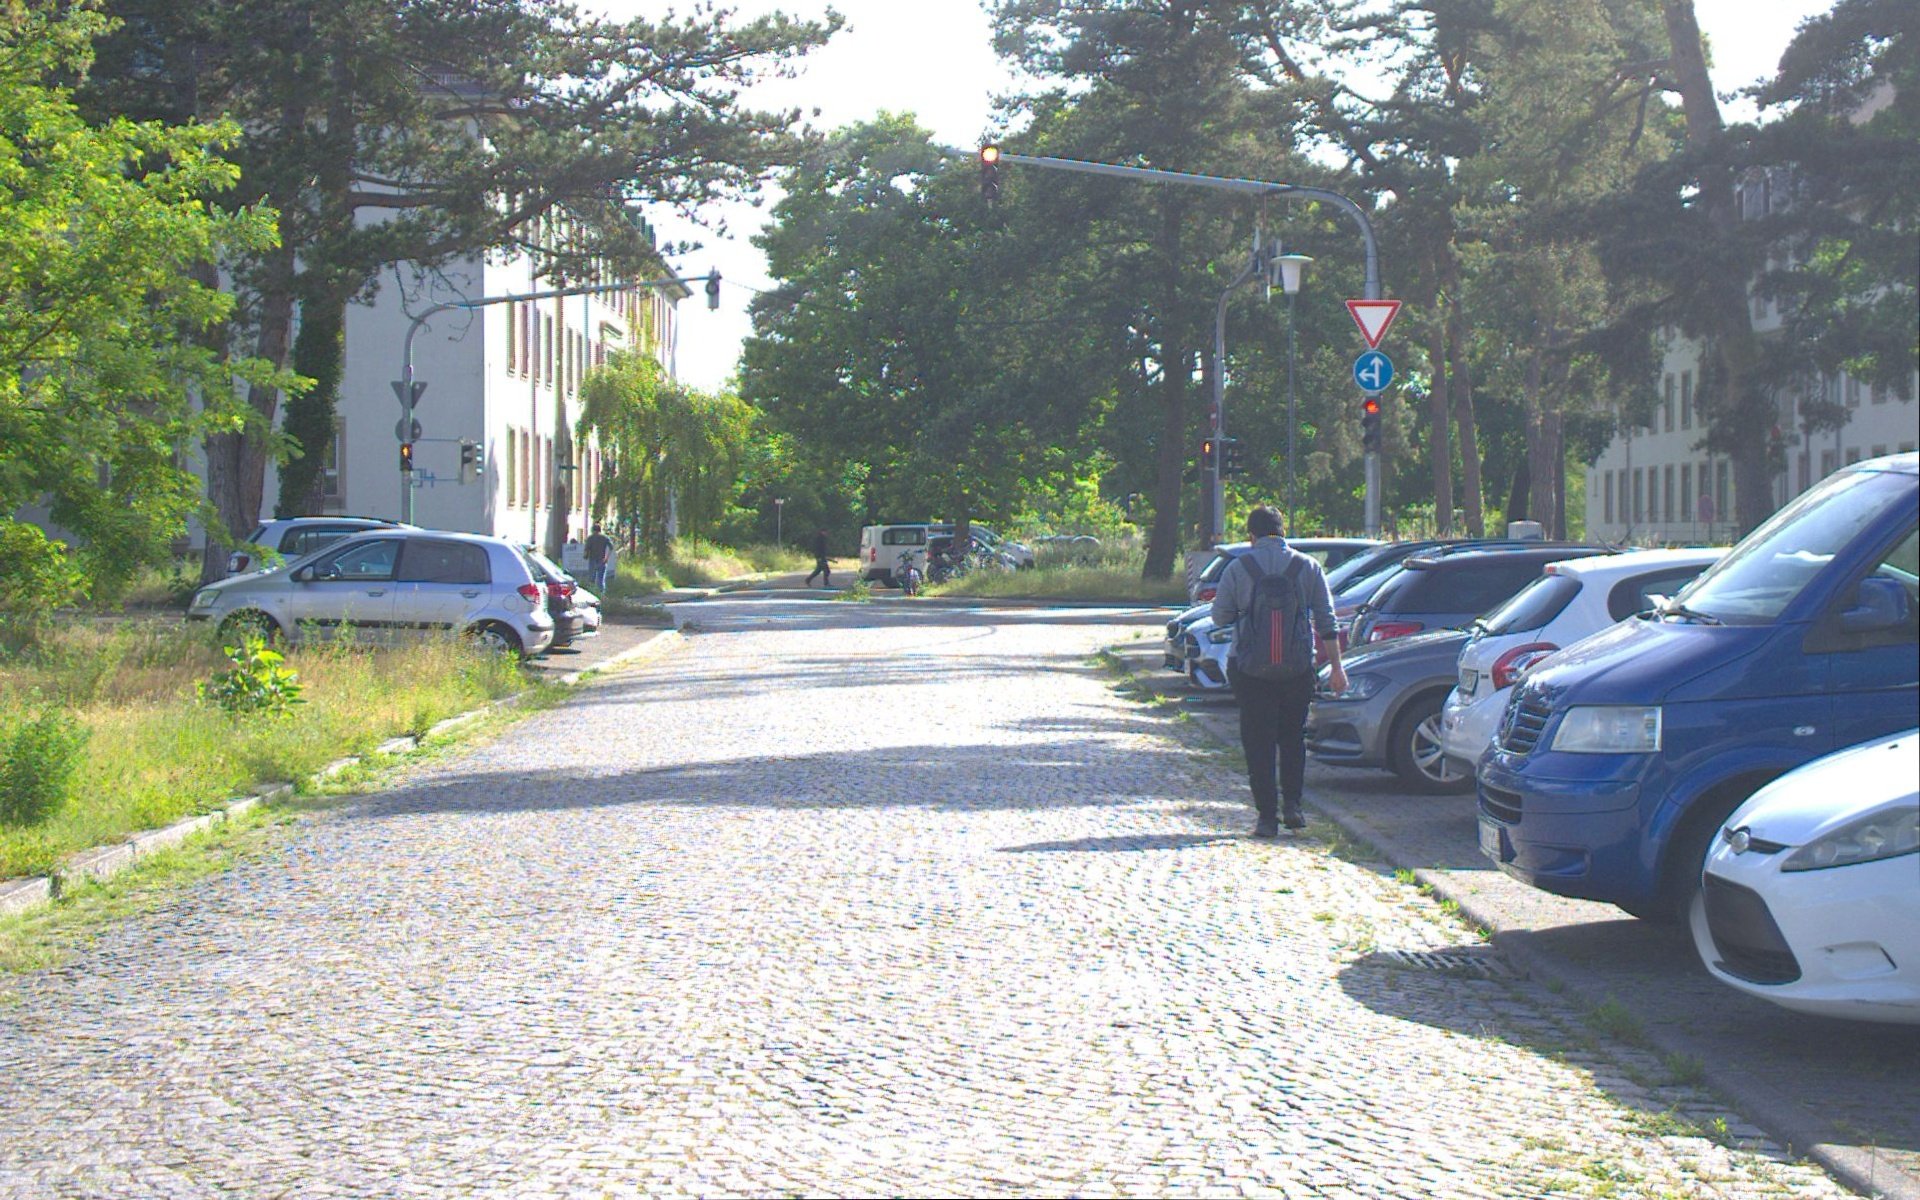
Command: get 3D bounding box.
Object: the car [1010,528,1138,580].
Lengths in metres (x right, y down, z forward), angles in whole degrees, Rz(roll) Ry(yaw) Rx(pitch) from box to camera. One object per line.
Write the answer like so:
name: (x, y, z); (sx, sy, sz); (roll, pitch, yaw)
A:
car: (3.560, -1.450, 107.754); (3.743, 1.574, 1.742); (0, 1, -8)

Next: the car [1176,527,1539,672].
car: (4.233, -0.021, 36.995); (3.673, 1.438, 1.665); (-1, 1, 0)

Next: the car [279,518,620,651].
car: (-6.517, -0.219, 44.157); (3.987, 1.491, 1.772); (3, 1, 4)

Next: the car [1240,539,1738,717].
car: (4.467, 0.217, 29.400); (3.979, 1.443, 1.656); (0, 1, -1)

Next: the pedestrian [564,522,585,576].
pedestrian: (-11.191, -1.489, 99.767); (0.606, 1.554, 0.545); (0, 1, -7)

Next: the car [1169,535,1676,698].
car: (4.222, 0.131, 31.816); (4.399, 1.384, 1.789); (-1, 1, -1)

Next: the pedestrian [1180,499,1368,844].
pedestrian: (1.644, 0.363, 18.140); (0.753, 1.719, 0.828); (5, 1, -1)

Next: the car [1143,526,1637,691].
car: (4.257, 0.063, 34.472); (4.619, 1.450, 1.870); (-2, 1, -3)

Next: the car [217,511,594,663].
car: (-6.201, -0.162, 38.770); (3.937, 1.440, 1.691); (4, 1, -2)

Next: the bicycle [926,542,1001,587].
bicycle: (0.084, -0.891, 85.921); (1.834, 1.108, 0.495); (0, 1, -4)

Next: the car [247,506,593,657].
car: (-6.461, -0.233, 41.416); (3.879, 1.610, 1.661); (3, 1, -2)

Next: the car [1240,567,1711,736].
car: (3.996, 0.387, 27.011); (3.460, 1.238, 1.536); (1, 1, 0)

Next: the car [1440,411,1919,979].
car: (4.409, 0.274, 13.364); (4.754, 2.007, 2.000); (-2, 1, 0)

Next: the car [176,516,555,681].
car: (-6.190, -0.031, 36.106); (3.685, 1.522, 1.699); (3, 1, -3)

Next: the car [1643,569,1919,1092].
car: (4.183, 0.627, 10.742); (3.719, 1.462, 1.610); (-1, 1, -2)

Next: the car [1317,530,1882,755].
car: (4.478, 0.277, 24.431); (3.663, 1.450, 1.667); (-1, 1, 0)

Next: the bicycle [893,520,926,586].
bicycle: (-1.224, -1.143, 82.931); (0.753, 1.575, 2.537); (1, 1, -1)

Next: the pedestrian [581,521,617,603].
pedestrian: (-7.729, -0.807, 73.576); (0.606, 1.746, 0.630); (0, 1, -20)

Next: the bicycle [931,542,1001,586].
bicycle: (0.145, -0.901, 86.466); (1.727, 1.108, 0.484); (0, 1, -4)

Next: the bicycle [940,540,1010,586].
bicycle: (0.372, -0.949, 87.147); (1.727, 1.160, 0.561); (0, 1, -4)

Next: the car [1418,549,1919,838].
car: (4.414, 0.474, 18.613); (3.645, 1.487, 1.634); (0, 1, 0)

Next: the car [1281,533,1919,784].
car: (3.979, 0.338, 21.542); (3.781, 1.445, 1.758); (-1, 1, 1)

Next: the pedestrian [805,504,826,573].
pedestrian: (-4.253, -1.807, 101.305); (0.594, 2.007, 0.573); (0, 1, -1)

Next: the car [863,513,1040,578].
car: (-0.260, -1.643, 103.836); (5.065, 1.911, 2.001); (0, 1, -10)
